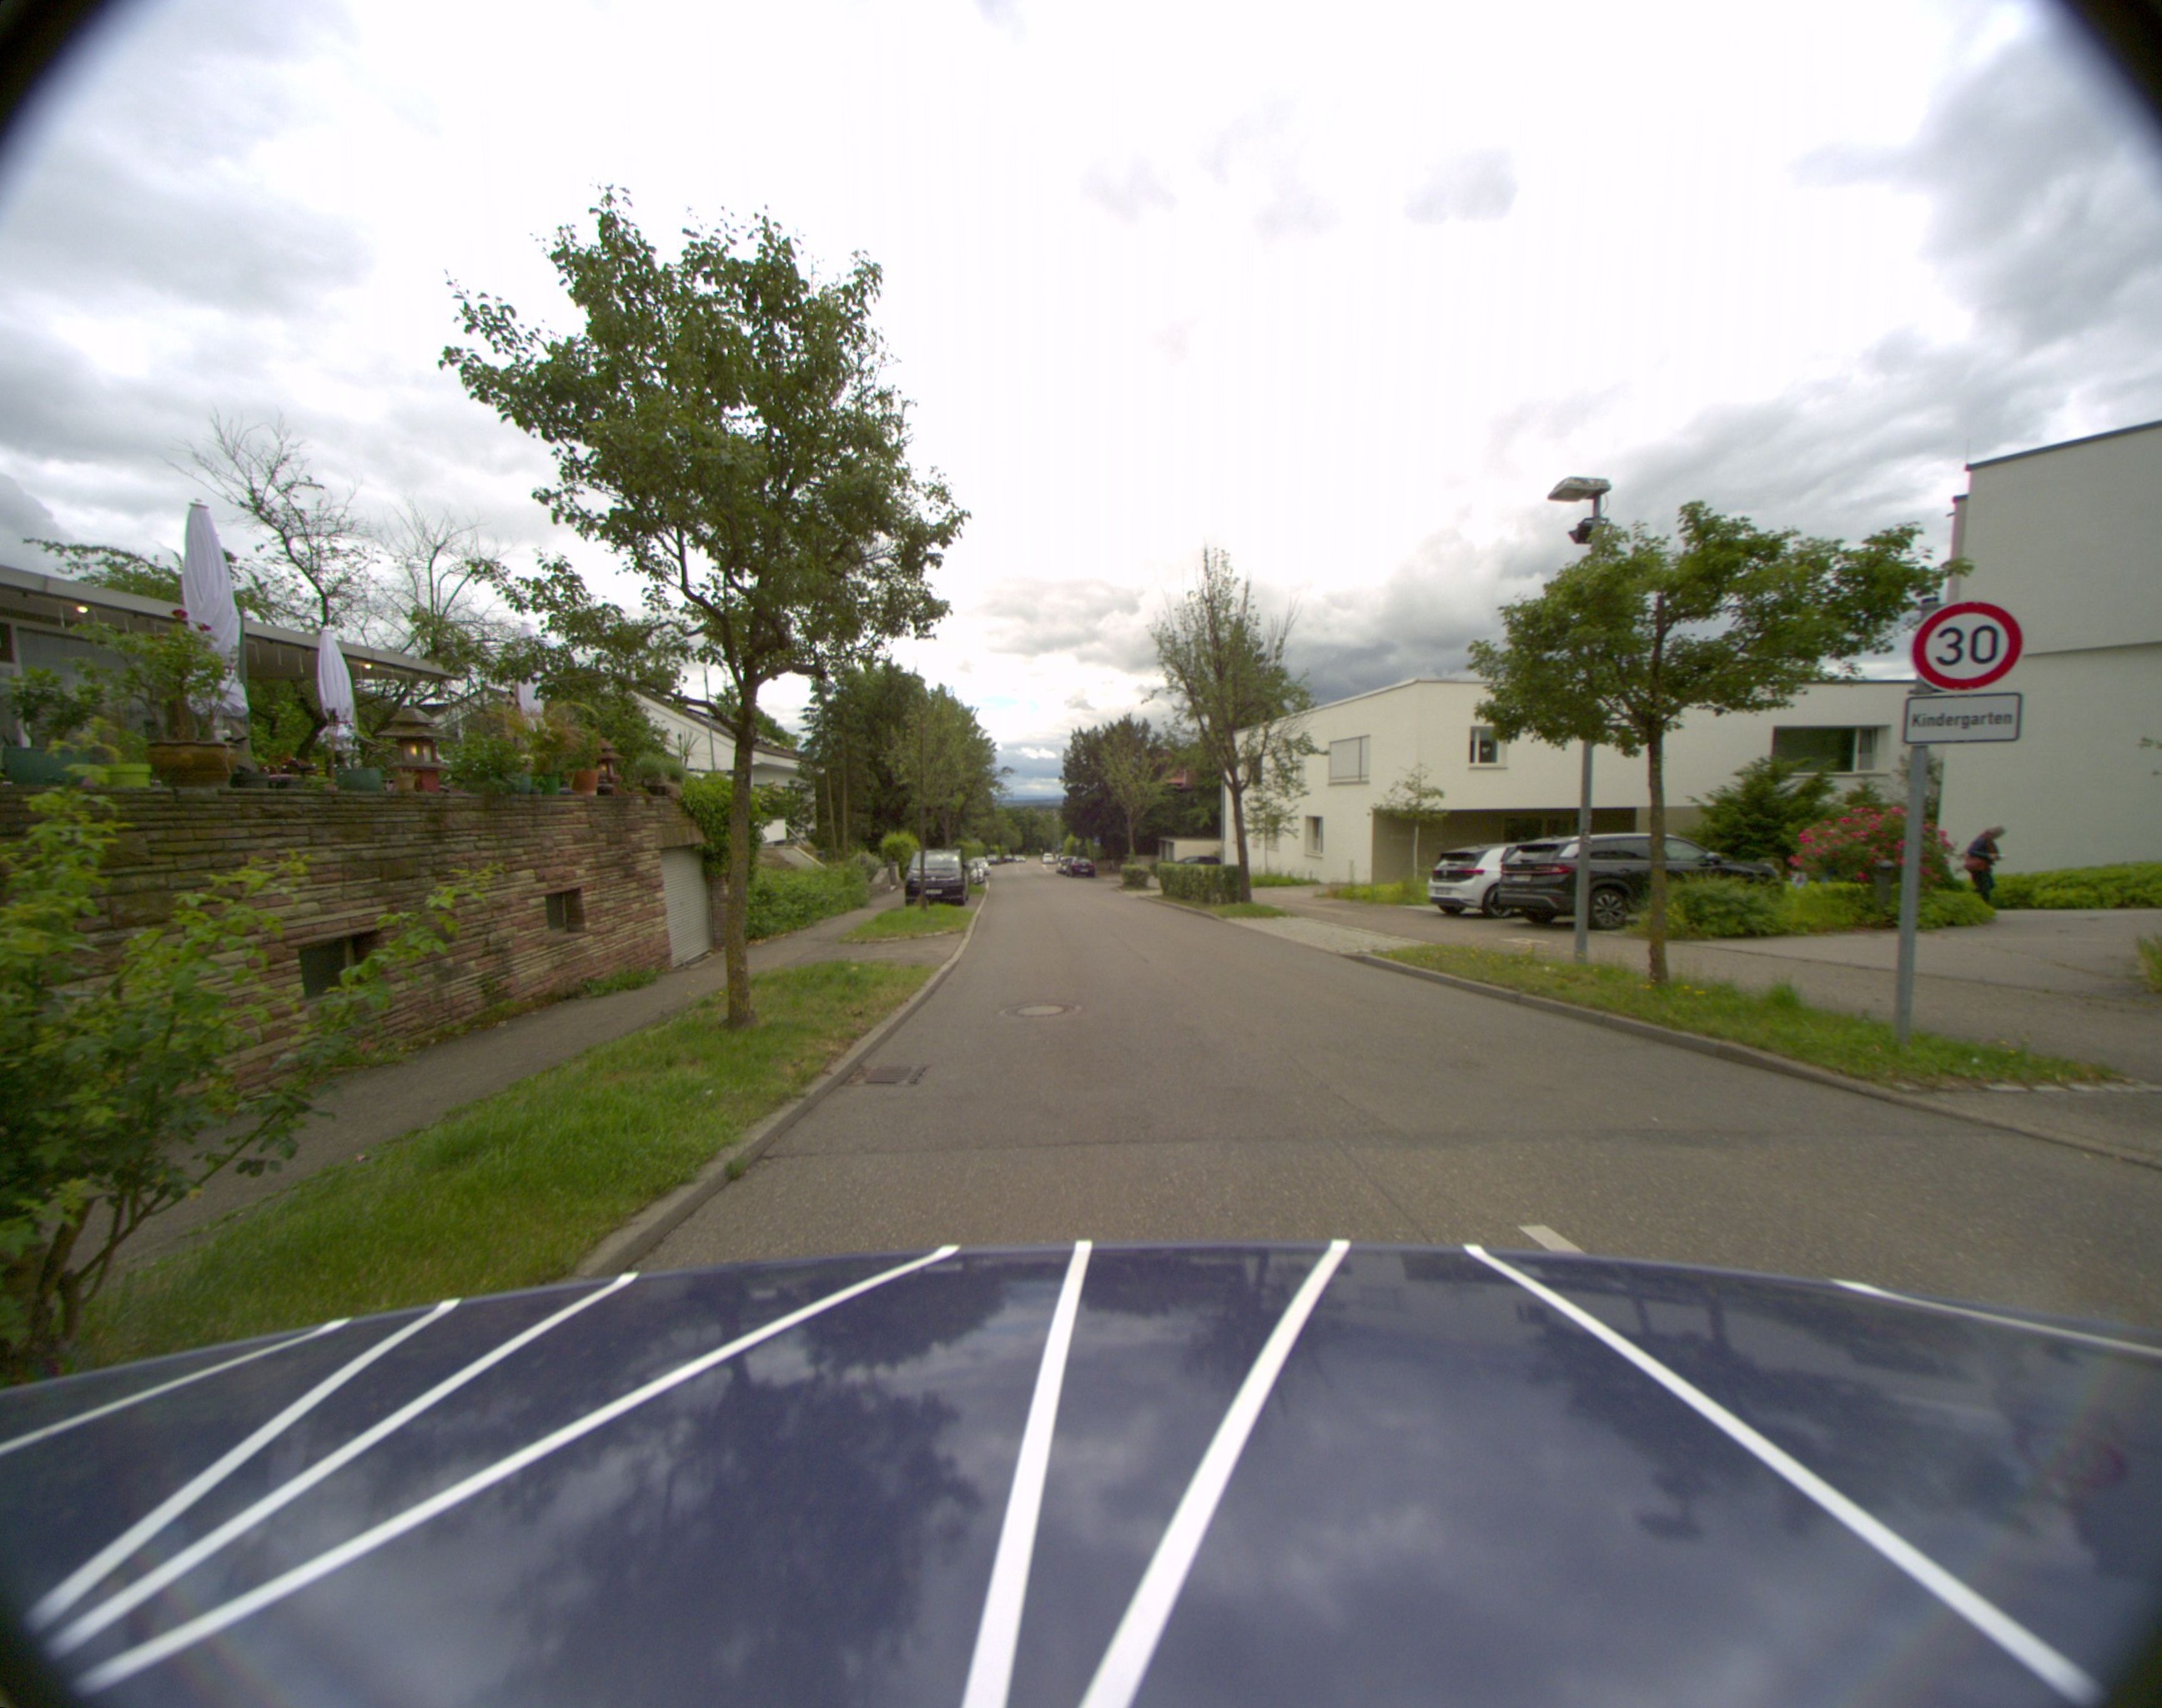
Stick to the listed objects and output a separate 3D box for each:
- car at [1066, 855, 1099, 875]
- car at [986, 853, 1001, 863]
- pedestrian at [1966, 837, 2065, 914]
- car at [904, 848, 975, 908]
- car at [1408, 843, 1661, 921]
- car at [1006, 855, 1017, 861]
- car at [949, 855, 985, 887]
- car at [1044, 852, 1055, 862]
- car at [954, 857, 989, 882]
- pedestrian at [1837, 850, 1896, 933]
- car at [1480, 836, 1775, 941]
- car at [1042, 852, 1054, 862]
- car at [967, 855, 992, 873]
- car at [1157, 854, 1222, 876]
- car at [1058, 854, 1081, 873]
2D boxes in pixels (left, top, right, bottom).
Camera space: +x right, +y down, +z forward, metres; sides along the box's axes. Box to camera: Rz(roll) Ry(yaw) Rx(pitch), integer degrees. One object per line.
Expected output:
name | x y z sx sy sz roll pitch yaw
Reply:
car | 0.043 0.788 56.958 1.856 1.461 4.679 0 0 -7
car | -12.823 0.535 111.615 1.795 1.480 4.377 0 0 -3
pedestrian | 16.316 0.355 13.287 0.609 1.276 0.899 -2 1 -6
car | -4.776 0.728 26.315 1.942 1.827 5.215 -1 0 -6
car | 9.749 0.552 16.528 4.400 1.557 2.065 0 0 -7
car | -14.543 0.778 159.227 1.999 1.221 3.998 -1 0 -3
car | -6.280 0.909 42.284 1.722 1.623 3.926 -3 1 -6
car | -4.700 0.473 113.437 1.694 1.411 3.578 2 0 -2
car | -6.964 0.933 48.811 1.999 1.483 5.002 0 0 -5
pedestrian | 15.844 0.743 15.343 0.595 1.631 0.565 0 1 -5
car | 9.792 0.568 13.830 3.999 1.644 2.007 -2 1 -5
car | -5.132 0.446 118.587 1.787 1.481 4.737 3 0 -3
car | -9.238 0.856 69.098 2.008 1.599 4.754 0 0 -11
car | 6.876 0.684 48.370 3.805 1.346 1.740 -1 1 -5
car | -0.982 0.776 64.961 1.629 1.510 2.973 -1 1 -7
